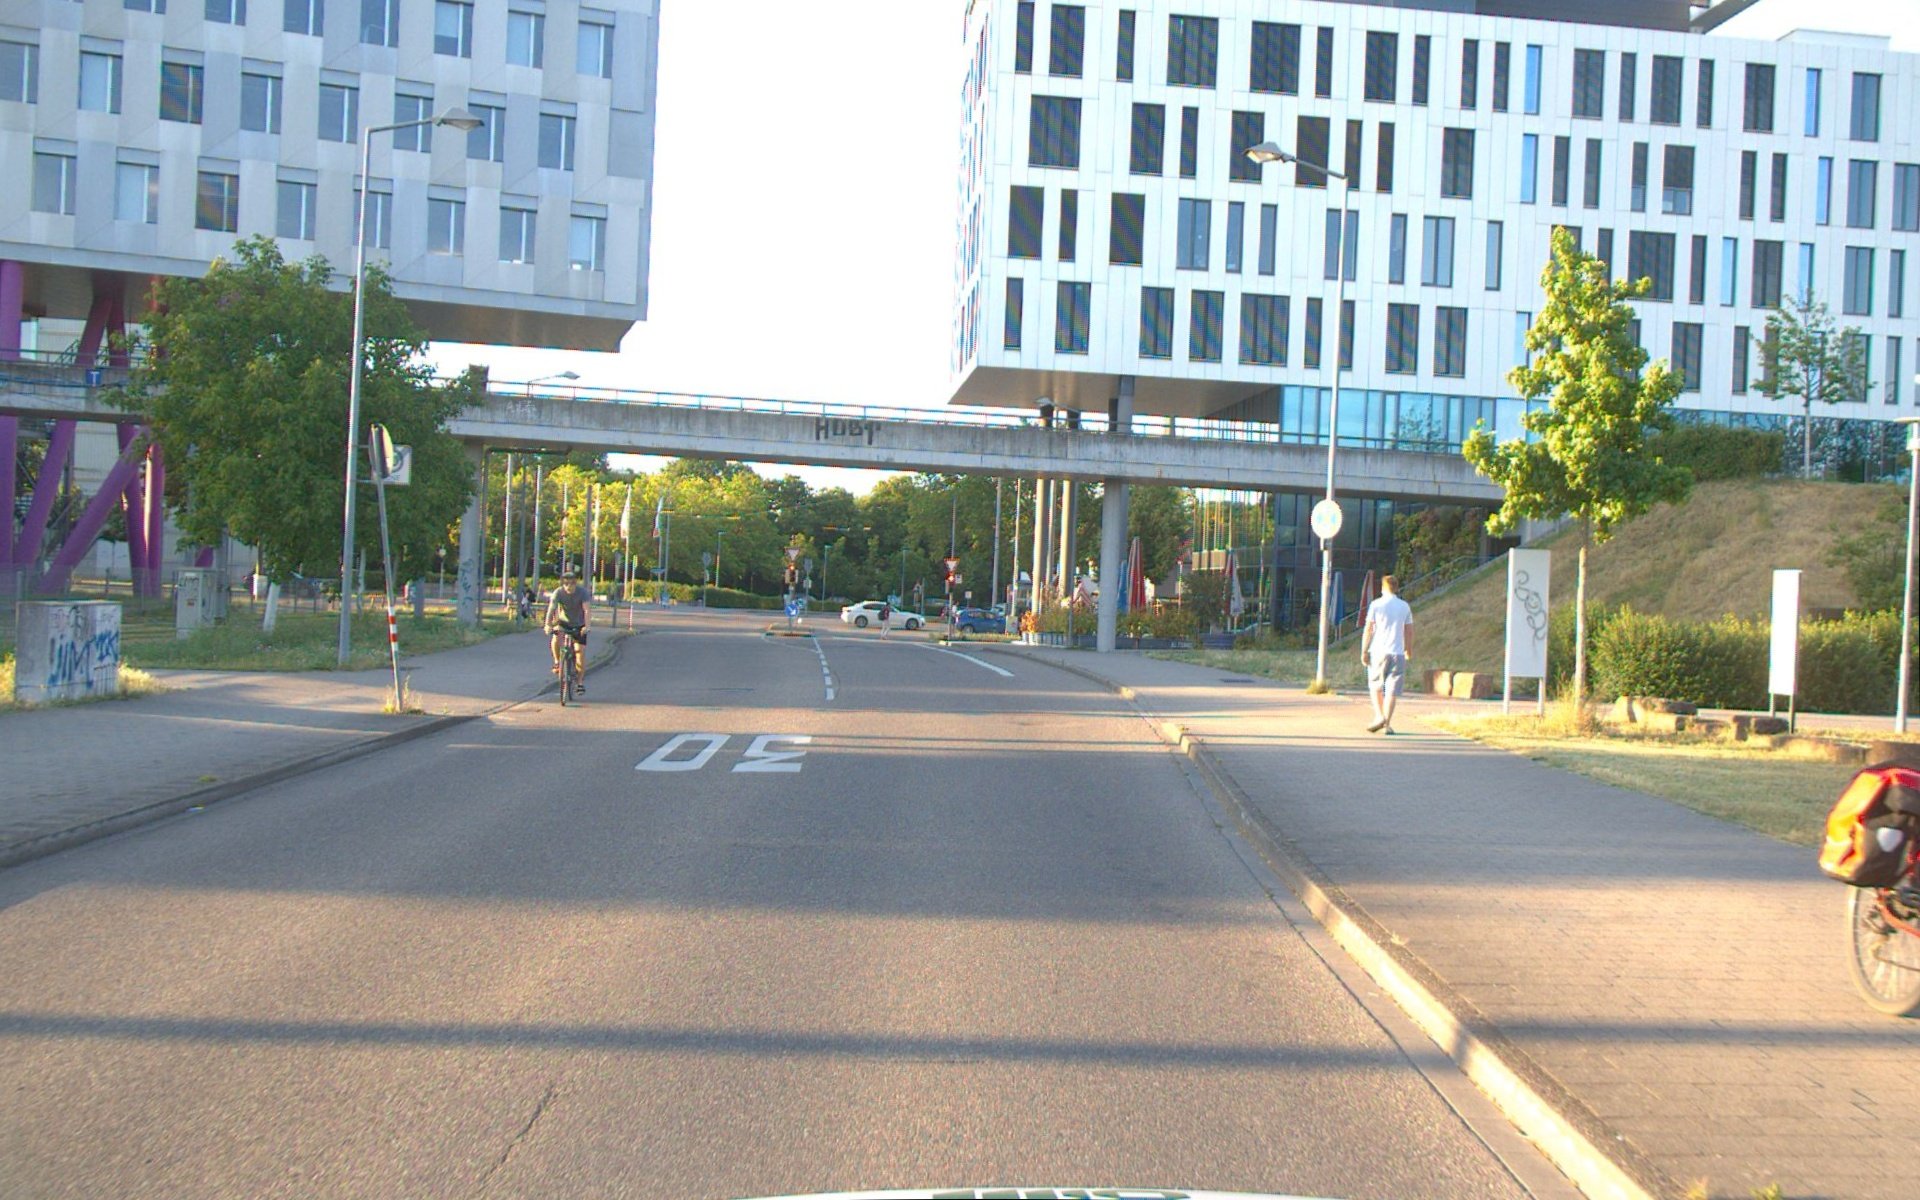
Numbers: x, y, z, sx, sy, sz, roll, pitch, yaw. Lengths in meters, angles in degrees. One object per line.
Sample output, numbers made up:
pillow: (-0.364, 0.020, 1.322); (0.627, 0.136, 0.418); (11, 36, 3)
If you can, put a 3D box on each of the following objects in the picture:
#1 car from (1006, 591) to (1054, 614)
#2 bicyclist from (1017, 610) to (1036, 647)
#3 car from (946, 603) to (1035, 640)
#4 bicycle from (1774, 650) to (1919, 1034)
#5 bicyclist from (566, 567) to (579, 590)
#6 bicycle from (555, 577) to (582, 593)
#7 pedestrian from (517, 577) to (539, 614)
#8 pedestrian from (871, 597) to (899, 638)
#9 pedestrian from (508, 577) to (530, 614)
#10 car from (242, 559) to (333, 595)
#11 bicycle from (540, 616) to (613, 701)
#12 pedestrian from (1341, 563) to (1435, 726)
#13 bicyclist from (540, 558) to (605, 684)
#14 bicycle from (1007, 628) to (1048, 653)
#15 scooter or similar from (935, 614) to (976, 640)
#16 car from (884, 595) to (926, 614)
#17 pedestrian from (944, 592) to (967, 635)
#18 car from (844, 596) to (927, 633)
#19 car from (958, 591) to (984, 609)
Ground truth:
car: (6.564, 0.237, 155.339); (4.375, 1.848, 1.945); (2, 1, 0)
bicyclist: (3.254, 1.392, 80.916); (0.843, 1.761, 0.605); (2, 1, -1)
car: (1.714, 1.200, 92.696); (4.634, 1.860, 1.886); (2, 1, -14)
bicycle: (3.337, 0.815, 5.347); (0.440, 1.189, 1.941); (2, 1, 1)
bicyclist: (-30.099, -1.654, 128.483); (0.749, 1.753, 0.547); (2, 1, -30)
bicycle: (-30.357, -1.145, 128.361); (1.942, 1.148, 0.555); (2, 1, -31)
pedestrian: (-20.014, -0.221, 76.682); (0.685, 1.693, 0.712); (3, 1, 12)
pedestrian: (-3.534, 0.840, 77.802); (1.037, 1.865, 0.891); (2, 1, -18)
pedestrian: (-20.212, -0.208, 75.885); (0.671, 1.652, 0.712); (3, 1, 12)
car: (-38.811, -1.344, 95.540); (4.382, 1.848, 1.943); (2, 1, -7)
bicycle: (-5.298, 0.787, 22.950); (0.527, 1.061, 1.925); (2, 1, 0)
pedestrian: (4.878, 0.489, 18.913); (0.814, 1.797, 0.818); (2, 1, 2)
bicyclist: (-5.372, 0.274, 22.960); (0.602, 1.691, 1.036); (2, 1, 0)
bicycle: (3.296, 1.990, 80.925); (1.930, 1.111, 0.622); (2, 1, -1)
scooter or similar: (-0.217, 1.325, 81.153); (1.828, 1.194, 0.761); (2, 1, -13)
car: (-6.261, 0.488, 188.025); (4.588, 1.901, 2.013); (3, 1, 1)
pedestrian: (-0.208, 0.660, 81.128); (0.893, 2.025, 0.769); (2, 1, -13)
car: (-4.289, 0.823, 94.906); (4.595, 1.860, 1.833); (2, 1, -4)
car: (1.087, -0.015, 165.604); (1.466, 1.634, 3.403); (3, 1, 21)
